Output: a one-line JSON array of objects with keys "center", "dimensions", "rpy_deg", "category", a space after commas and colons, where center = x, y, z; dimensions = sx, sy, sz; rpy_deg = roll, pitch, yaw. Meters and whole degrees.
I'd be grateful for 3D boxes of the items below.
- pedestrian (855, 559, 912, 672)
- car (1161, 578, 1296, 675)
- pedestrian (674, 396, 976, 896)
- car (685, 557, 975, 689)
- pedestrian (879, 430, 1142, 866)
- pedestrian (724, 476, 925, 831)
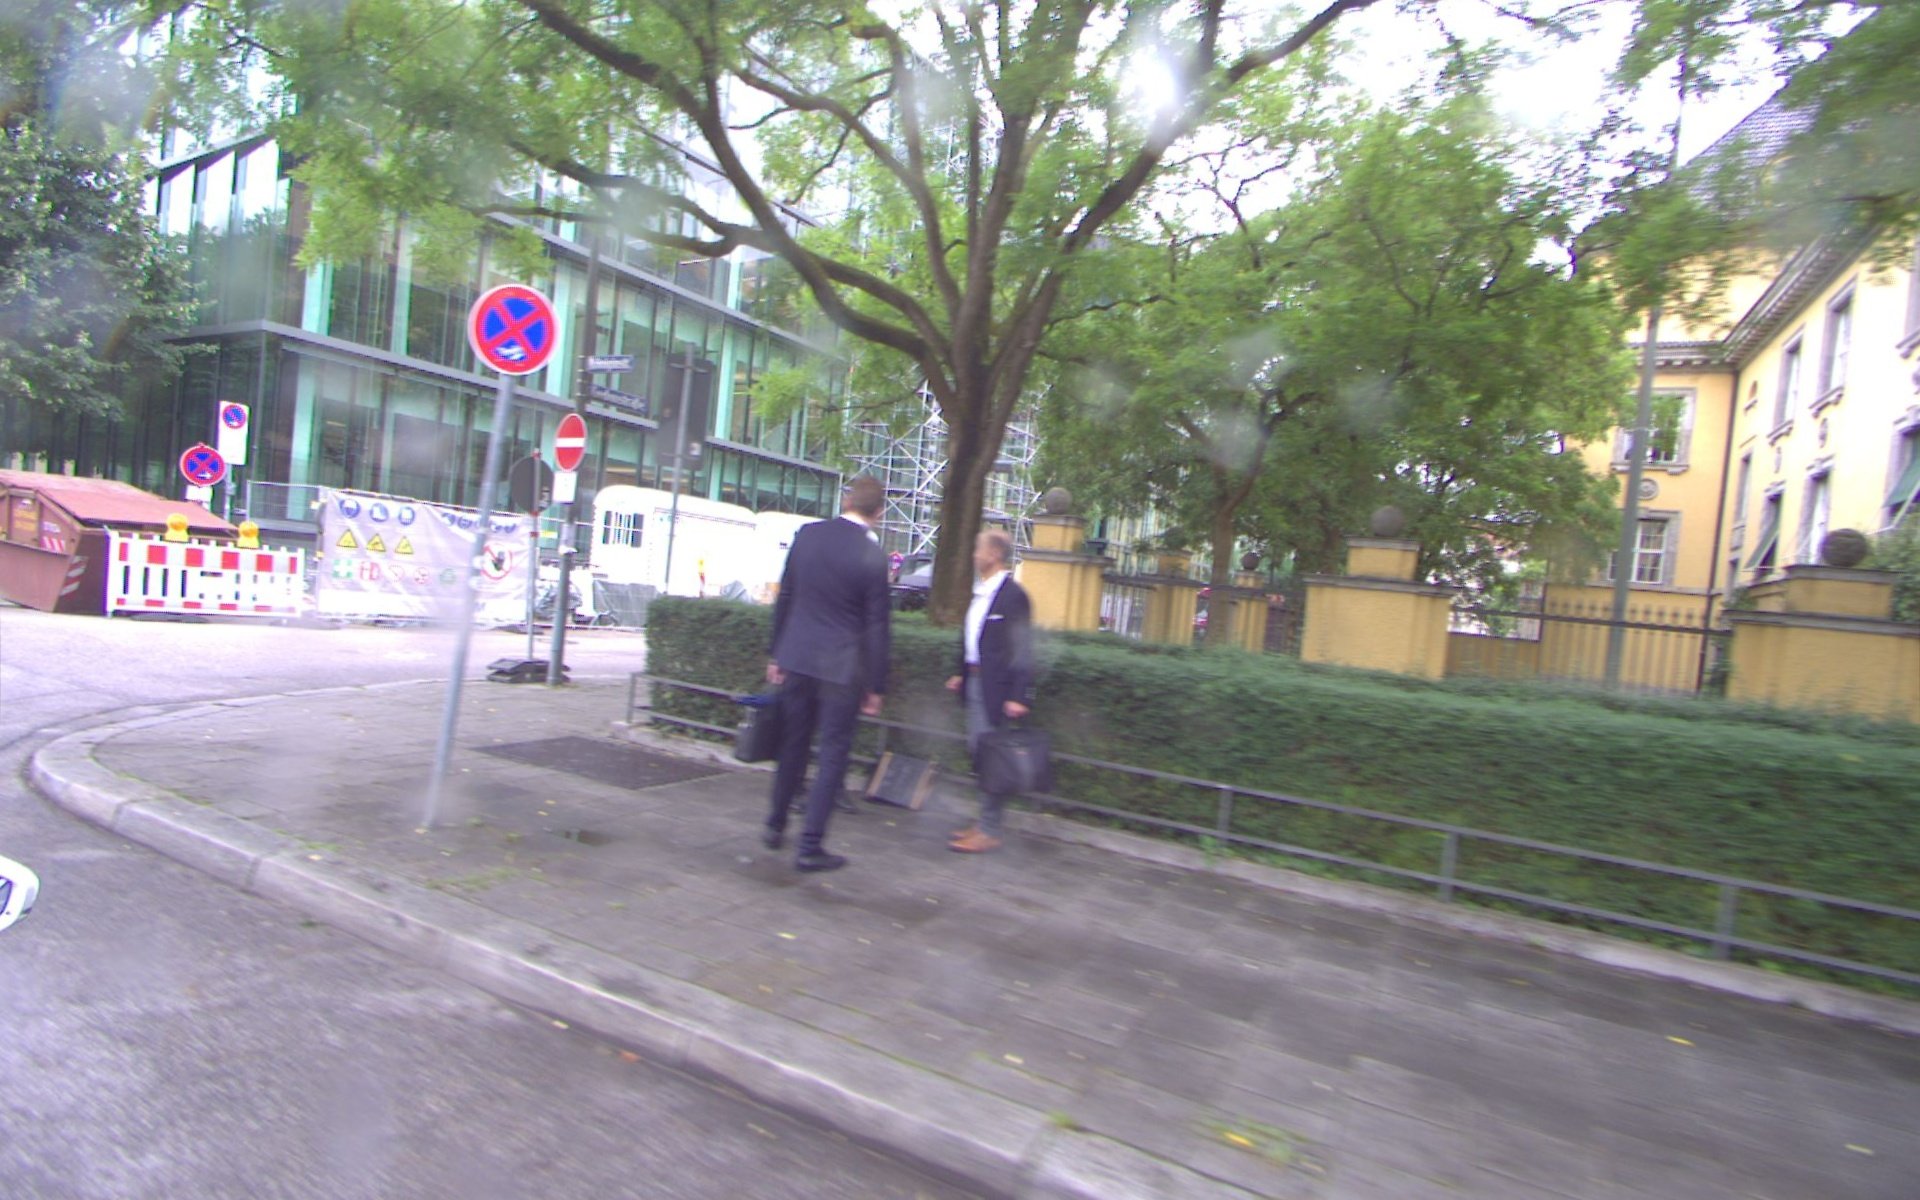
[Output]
[{"center": [-1.295, 0.257, 17.077], "dimensions": [0.672, 1.834, 0.672], "rpy_deg": [6, 2, 9], "category": "pedestrian"}, {"center": [8.201, 0.863, 30.281], "dimensions": [2.119, 2.493, 5.680], "rpy_deg": [6, 0, 33], "category": "car"}, {"center": [-0.650, 0.175, 4.906], "dimensions": [1.037, 2.163, 0.743], "rpy_deg": [7, 2, 27], "category": "pedestrian"}, {"center": [-1.704, 0.377, 14.602], "dimensions": [1.838, 1.505, 4.208], "rpy_deg": [6, 0, 32], "category": "car"}, {"center": [0.288, 0.223, 5.579], "dimensions": [1.037, 2.163, 0.743], "rpy_deg": [7, 2, 27], "category": "pedestrian"}, {"center": [-0.852, 0.295, 6.073], "dimensions": [0.735, 1.933, 1.048], "rpy_deg": [5, 2, -27], "category": "pedestrian"}]
